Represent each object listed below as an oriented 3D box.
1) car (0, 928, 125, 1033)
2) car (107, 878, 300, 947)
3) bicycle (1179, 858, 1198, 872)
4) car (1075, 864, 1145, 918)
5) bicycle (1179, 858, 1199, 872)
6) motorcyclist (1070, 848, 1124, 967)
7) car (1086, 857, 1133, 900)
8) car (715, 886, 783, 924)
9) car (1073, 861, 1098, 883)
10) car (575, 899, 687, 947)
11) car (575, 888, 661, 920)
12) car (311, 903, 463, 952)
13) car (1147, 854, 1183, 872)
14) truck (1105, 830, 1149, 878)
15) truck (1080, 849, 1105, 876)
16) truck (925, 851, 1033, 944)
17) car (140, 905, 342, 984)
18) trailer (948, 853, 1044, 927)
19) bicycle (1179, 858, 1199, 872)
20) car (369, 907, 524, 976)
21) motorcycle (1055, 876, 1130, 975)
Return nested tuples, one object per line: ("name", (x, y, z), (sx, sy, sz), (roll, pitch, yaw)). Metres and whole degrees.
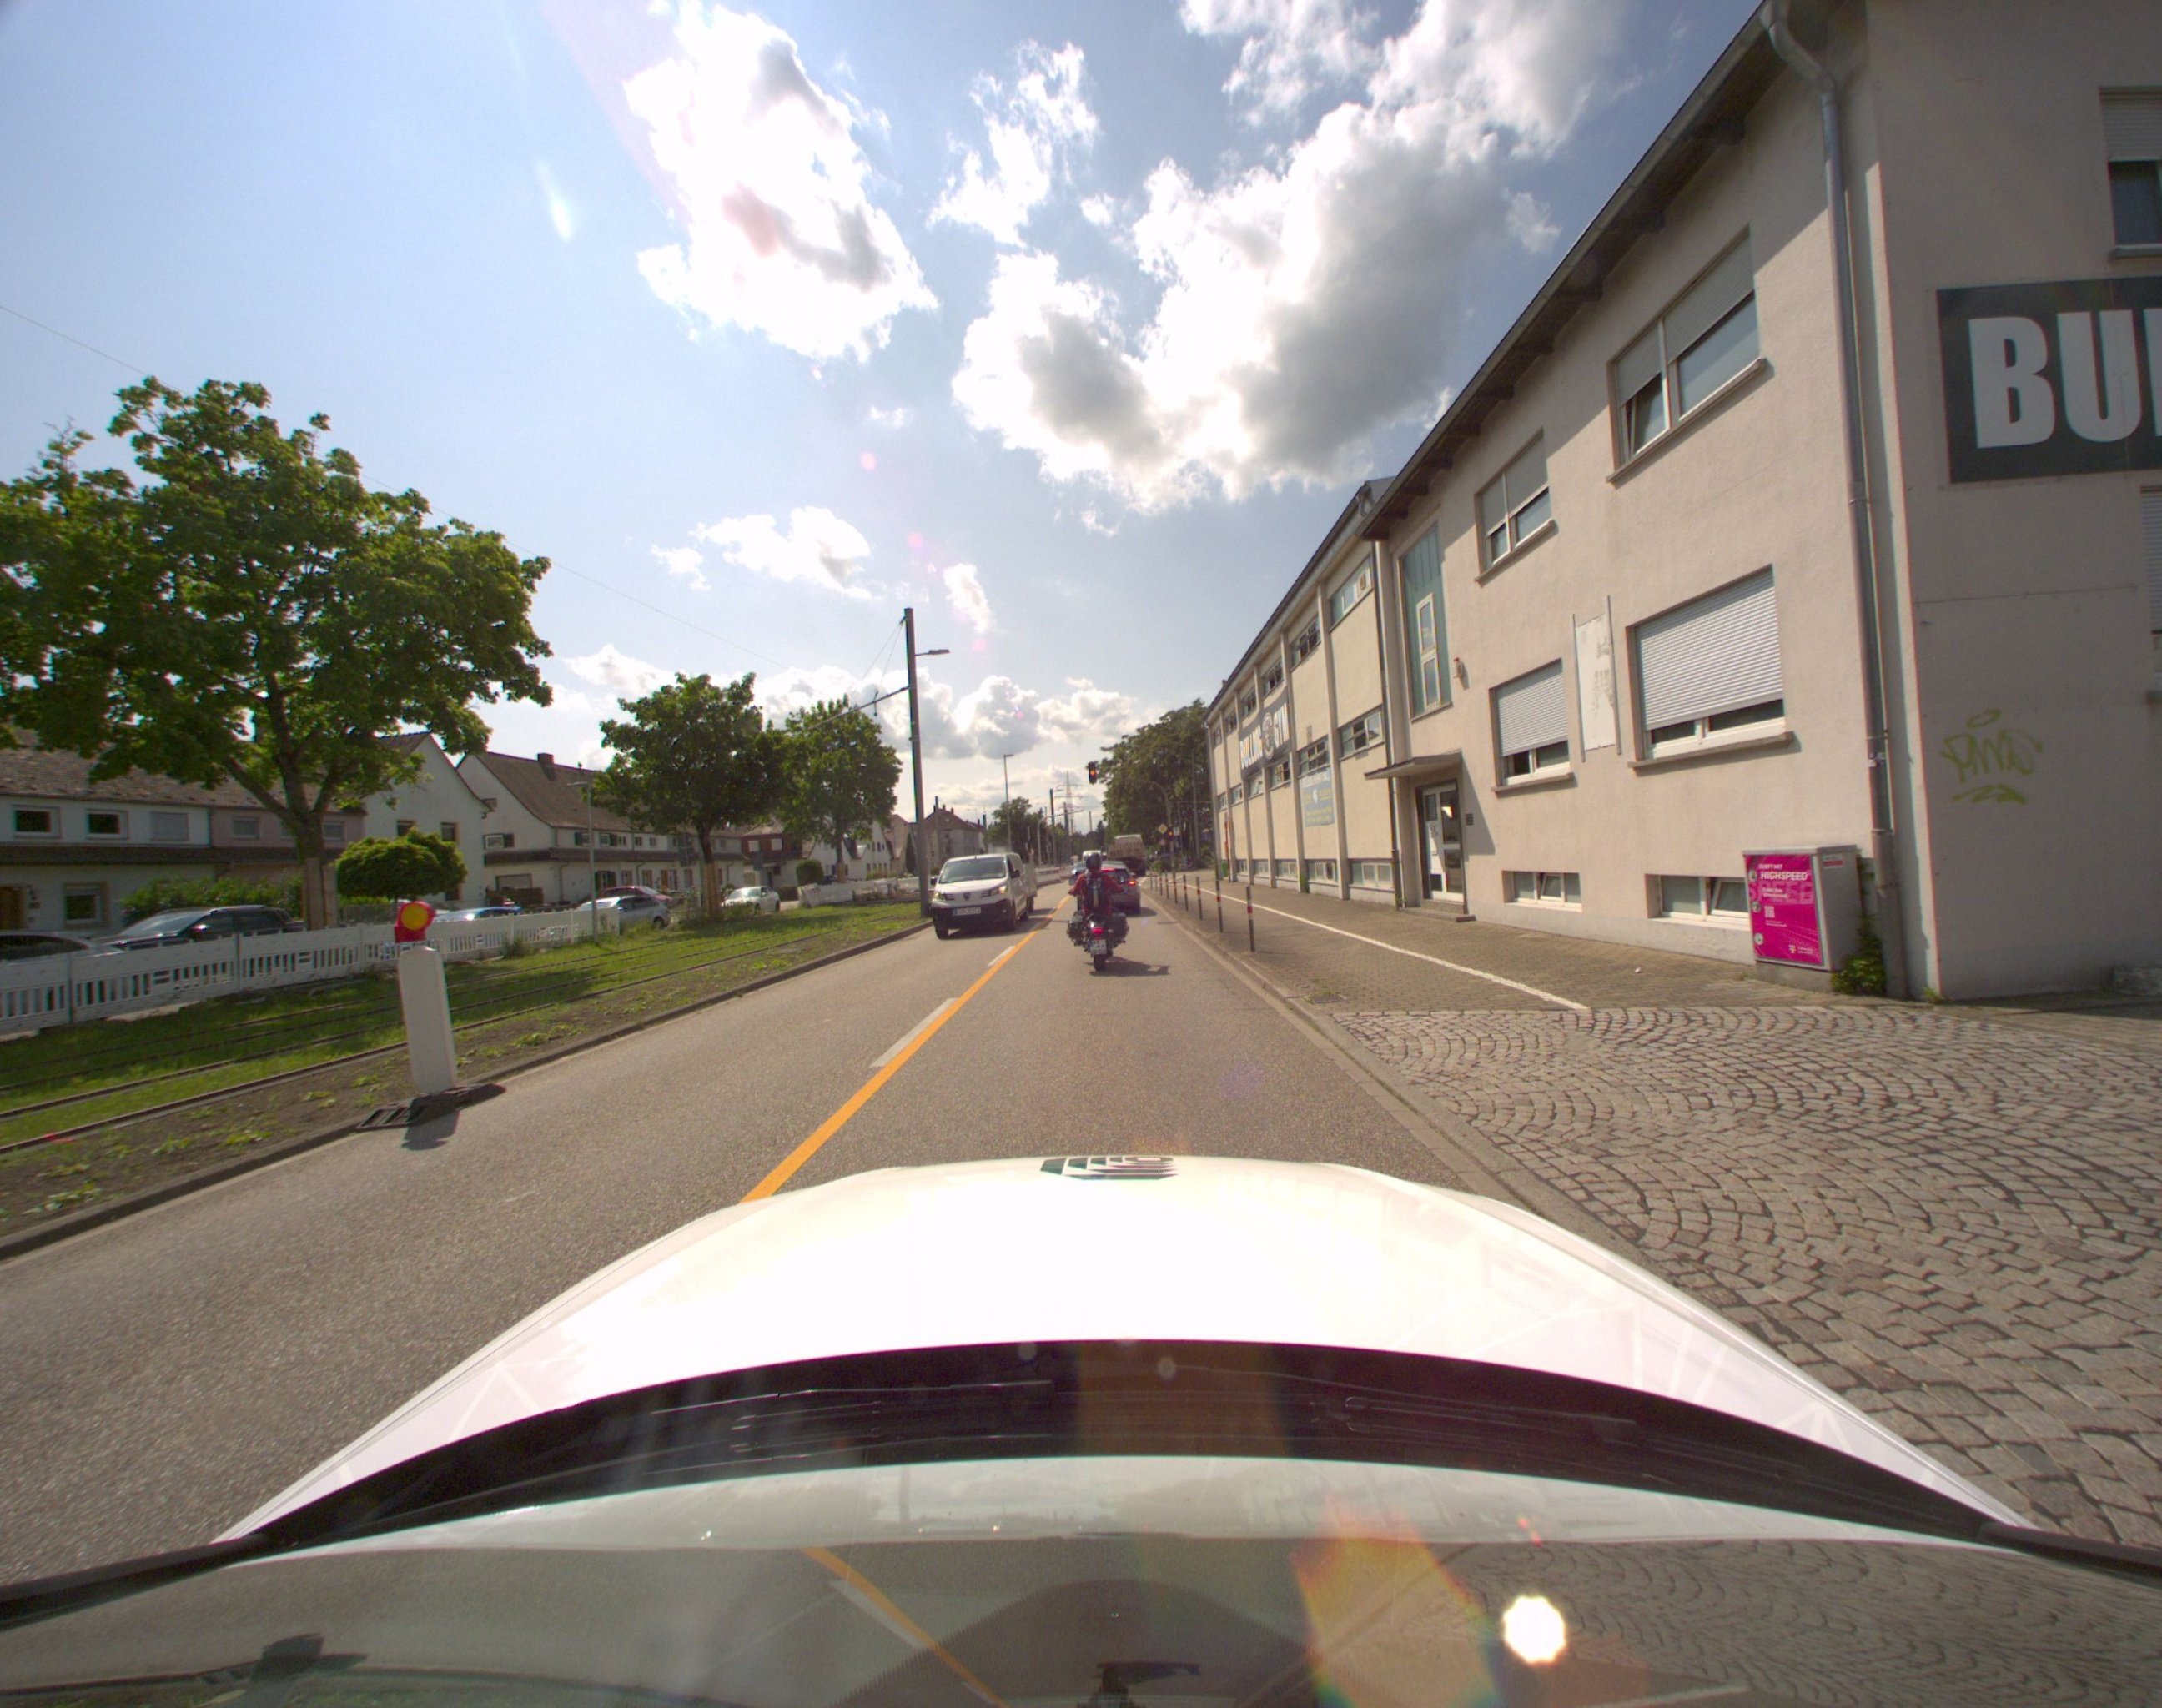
("car", (-15.865, 1.881, 11.323), (1.345, 1.377, 3.115), (-5, -1, 2))
("car", (-28.876, 1.849, 27.002), (1.986, 2.014, 4.001), (-2, -1, 1))
("bicycle", (9.750, 0.972, 73.734), (1.698, 1.172, 0.439), (-2, -1, 6))
("car", (0.781, 1.023, 24.234), (1.727, 1.403, 4.082), (-2, -1, -3))
("bicycle", (9.686, 0.999, 73.138), (1.698, 1.172, 0.439), (-2, -1, 6))
("motorcyclist", (0.231, 0.742, 11.567), (0.695, 1.604, 0.692), (-2, -1, 1))
("car", (1.399, 1.098, 38.376), (1.893, 1.712, 4.725), (-4, 1, 4))
("car", (-15.328, 2.317, 37.811), (1.537, 1.376, 4.246), (-5, 0, -4))
("car", (0.361, 1.321, 62.449), (1.638, 1.498, 4.272), (-3, 0, 3))
("car", (-14.893, 2.252, 27.187), (1.497, 1.176, 3.749), (-4, 0, 2))
("car", (-27.226, 2.910, 47.965), (3.973, 1.509, 1.726), (-4, -1, 0))
("car", (-28.339, 2.965, 33.391), (4.405, 1.686, 1.794), (-2, -1, -9))
("car", (9.581, 0.988, 92.889), (4.022, 1.926, 1.781), (-1, -2, -43))
("truck", (3.510, 0.060, 60.631), (2.954, 3.173, 7.773), (-2, -1, 4))
("truck", (1.192, 0.825, 82.331), (2.084, 2.476, 5.200), (-5, 1, 3))
("truck", (-2.445, 0.961, 20.821), (1.813, 1.909, 5.118), (-6, 0, 1))
("car", (-20.469, 2.156, 20.039), (1.378, 1.495, 3.312), (-4, 0, 1))
("trailer", (-2.438, 1.026, 24.927), (2.055, 1.835, 5.487), (-6, -1, 1))
("bicycle", (9.638, 0.989, 72.668), (1.698, 1.172, 0.439), (-2, -1, 6))
("car", (-15.764, 2.121, 20.423), (1.336, 1.325, 3.169), (-4, 0, -1))
("motorcycle", (0.188, 0.966, 11.799), (0.939, 1.200, 2.473), (-2, 0, 2))
